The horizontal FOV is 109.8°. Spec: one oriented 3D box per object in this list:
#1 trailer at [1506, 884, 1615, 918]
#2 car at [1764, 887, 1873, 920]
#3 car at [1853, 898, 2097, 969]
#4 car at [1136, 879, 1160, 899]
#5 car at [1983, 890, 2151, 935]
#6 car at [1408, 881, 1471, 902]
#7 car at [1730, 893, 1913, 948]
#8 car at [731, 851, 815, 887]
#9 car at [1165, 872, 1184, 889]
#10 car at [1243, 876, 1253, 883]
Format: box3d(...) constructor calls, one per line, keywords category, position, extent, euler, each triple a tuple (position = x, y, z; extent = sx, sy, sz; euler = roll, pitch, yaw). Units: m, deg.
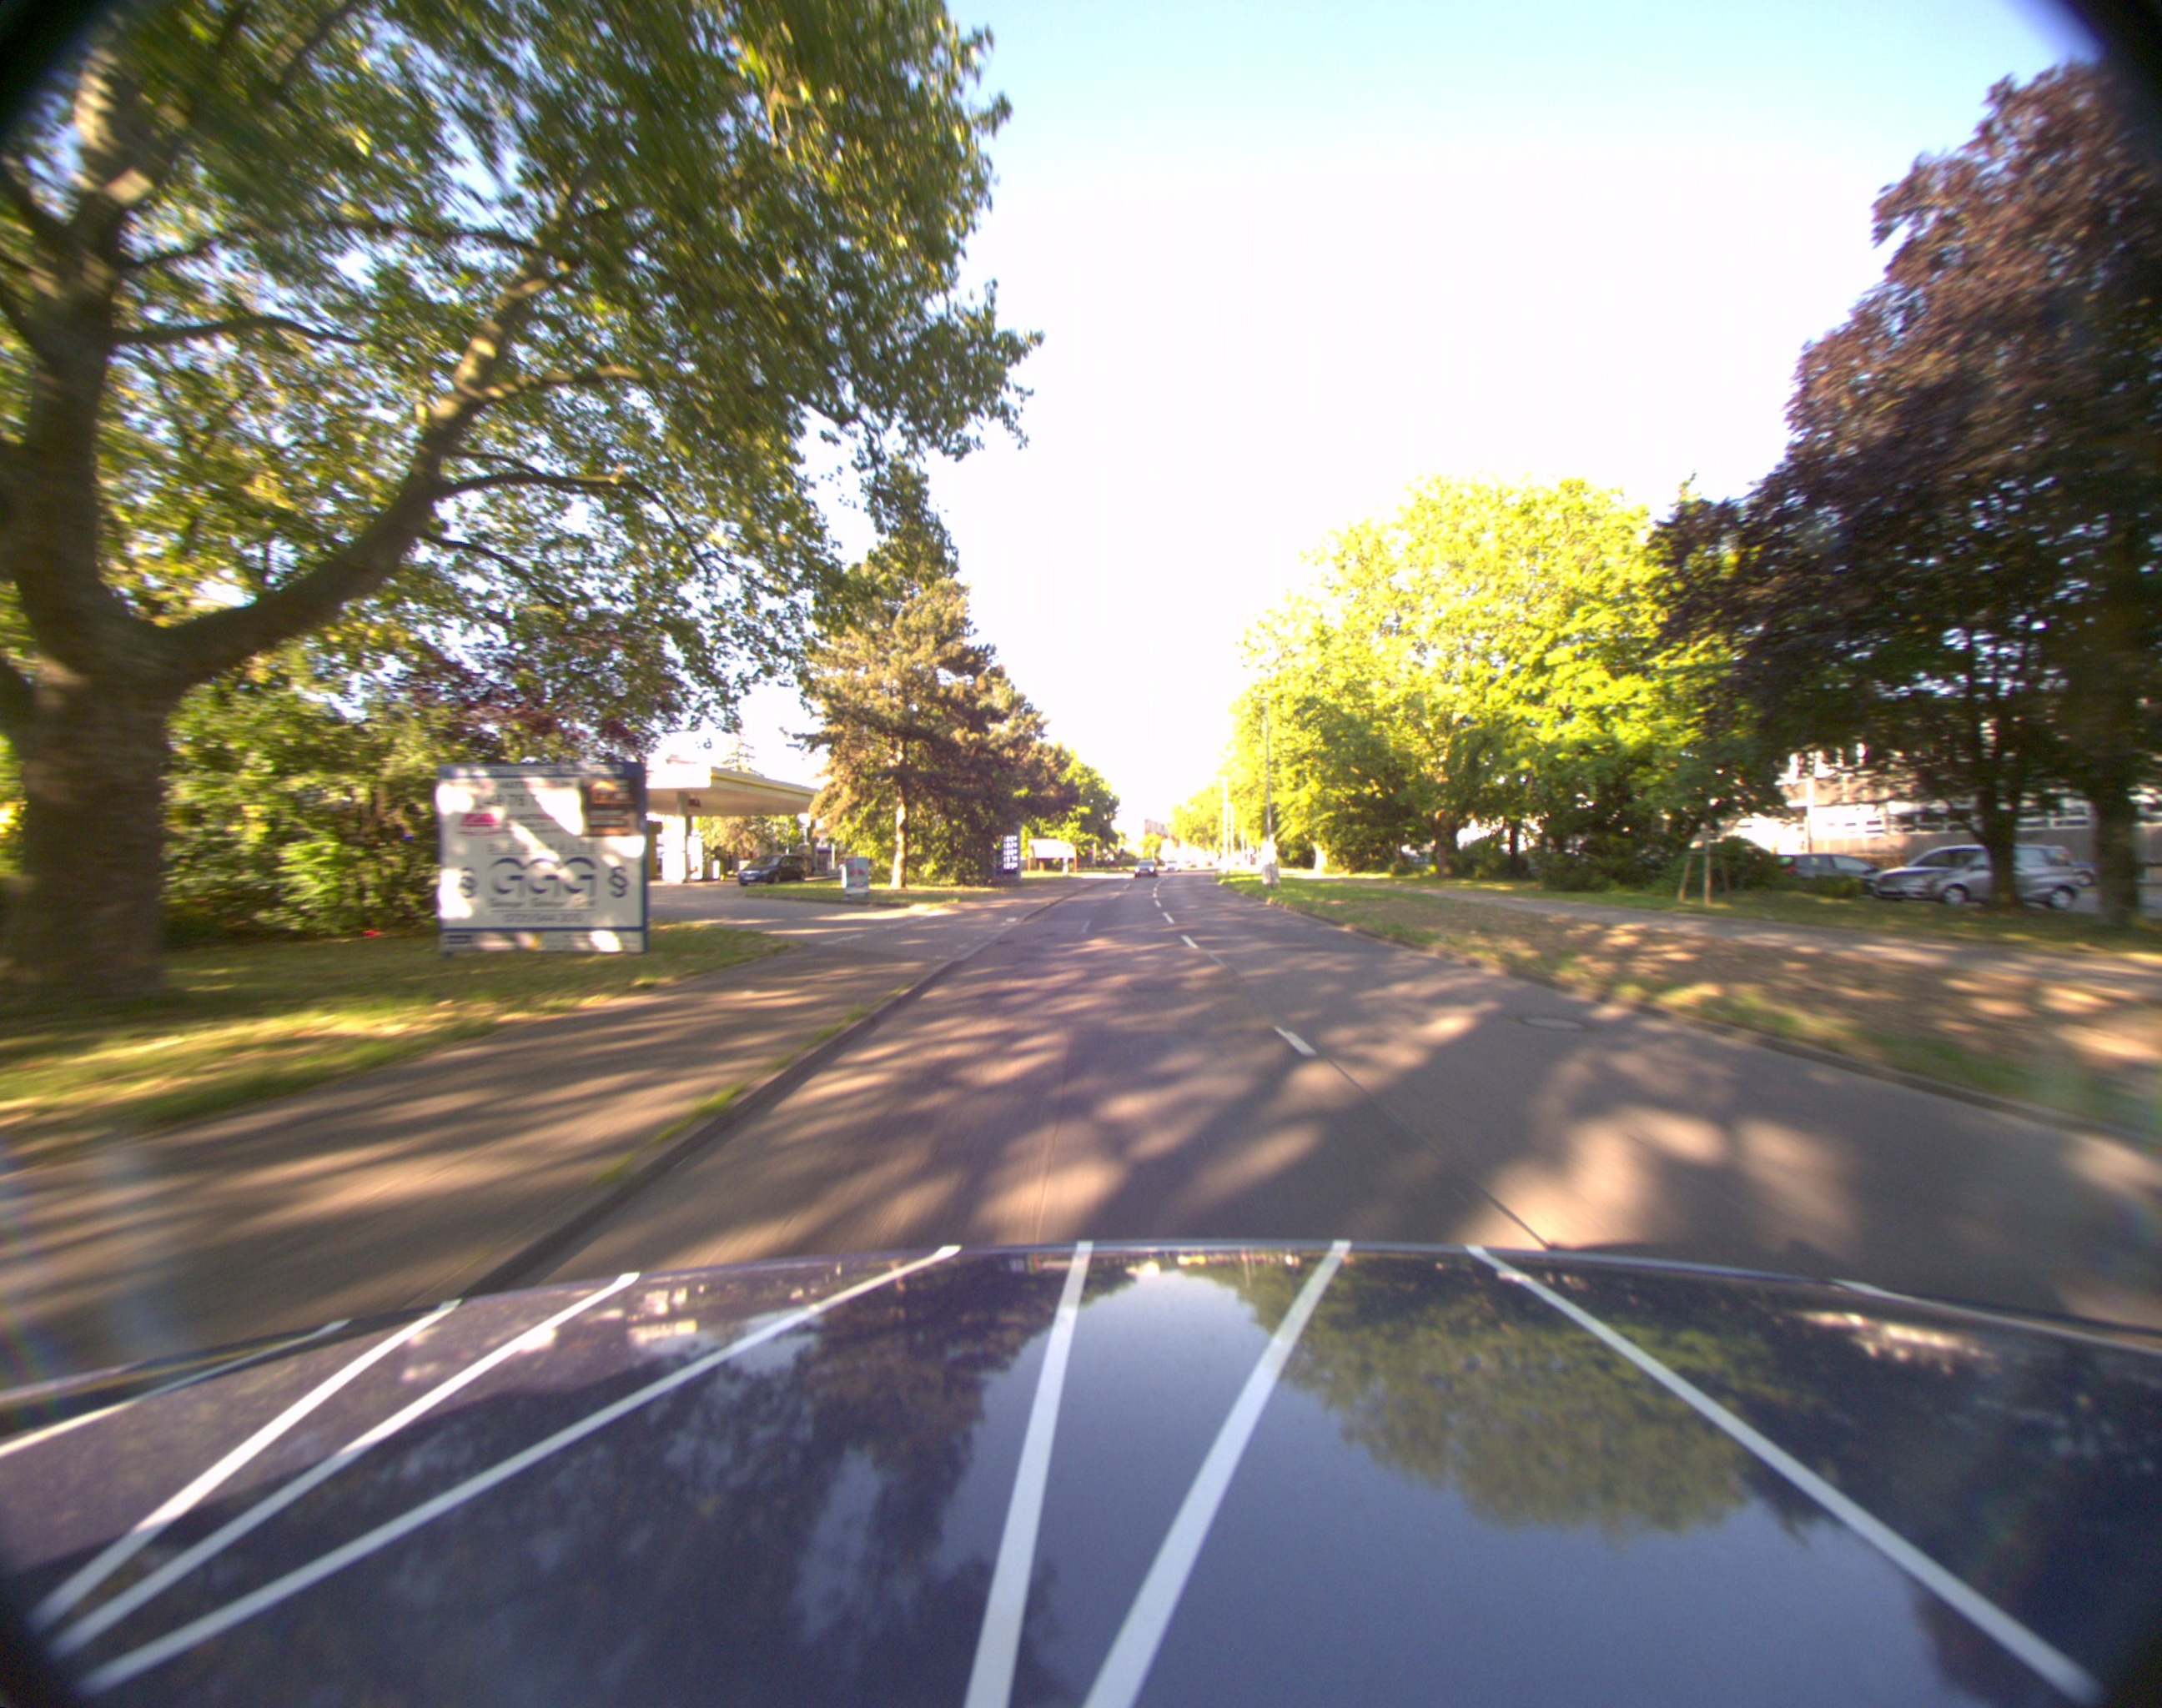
box3d(category="trailer", position=(23.311, 2.269, 37.078), extent=(3.995, 1.546, 2.001), euler=(1, -1, 5))
box3d(category="car", position=(40.266, 2.693, 41.564), extent=(3.996, 1.592, 1.930), euler=(1, -1, 2))
box3d(category="car", position=(23.122, 2.014, 19.787), extent=(3.996, 1.592, 1.930), euler=(1, 0, 1))
box3d(category="car", position=(5.541, 2.884, 62.853), extent=(1.869, 1.471, 4.089), euler=(1, -1, 5))
box3d(category="car", position=(38.618, 2.278, 29.841), extent=(3.996, 1.592, 1.930), euler=(1, -1, 2))
box3d(category="car", position=(25.931, 2.709, 55.079), extent=(3.738, 1.455, 1.767), euler=(0, -1, 3))
box3d(category="car", position=(23.807, 2.118, 24.557), extent=(3.996, 1.592, 1.930), euler=(1, -1, 1))
box3d(category="car", position=(-15.064, 0.762, 37.434), extent=(1.928, 1.637, 4.478), euler=(1, -1, 5))
box3d(category="car", position=(11.154, 3.121, 90.390), extent=(1.933, 2.001, 4.004), euler=(1, 0, 11))
box3d(category="car", position=(36.182, 5.545, 164.924), extent=(1.763, 1.474, 4.114), euler=(-1, -2, 16))
